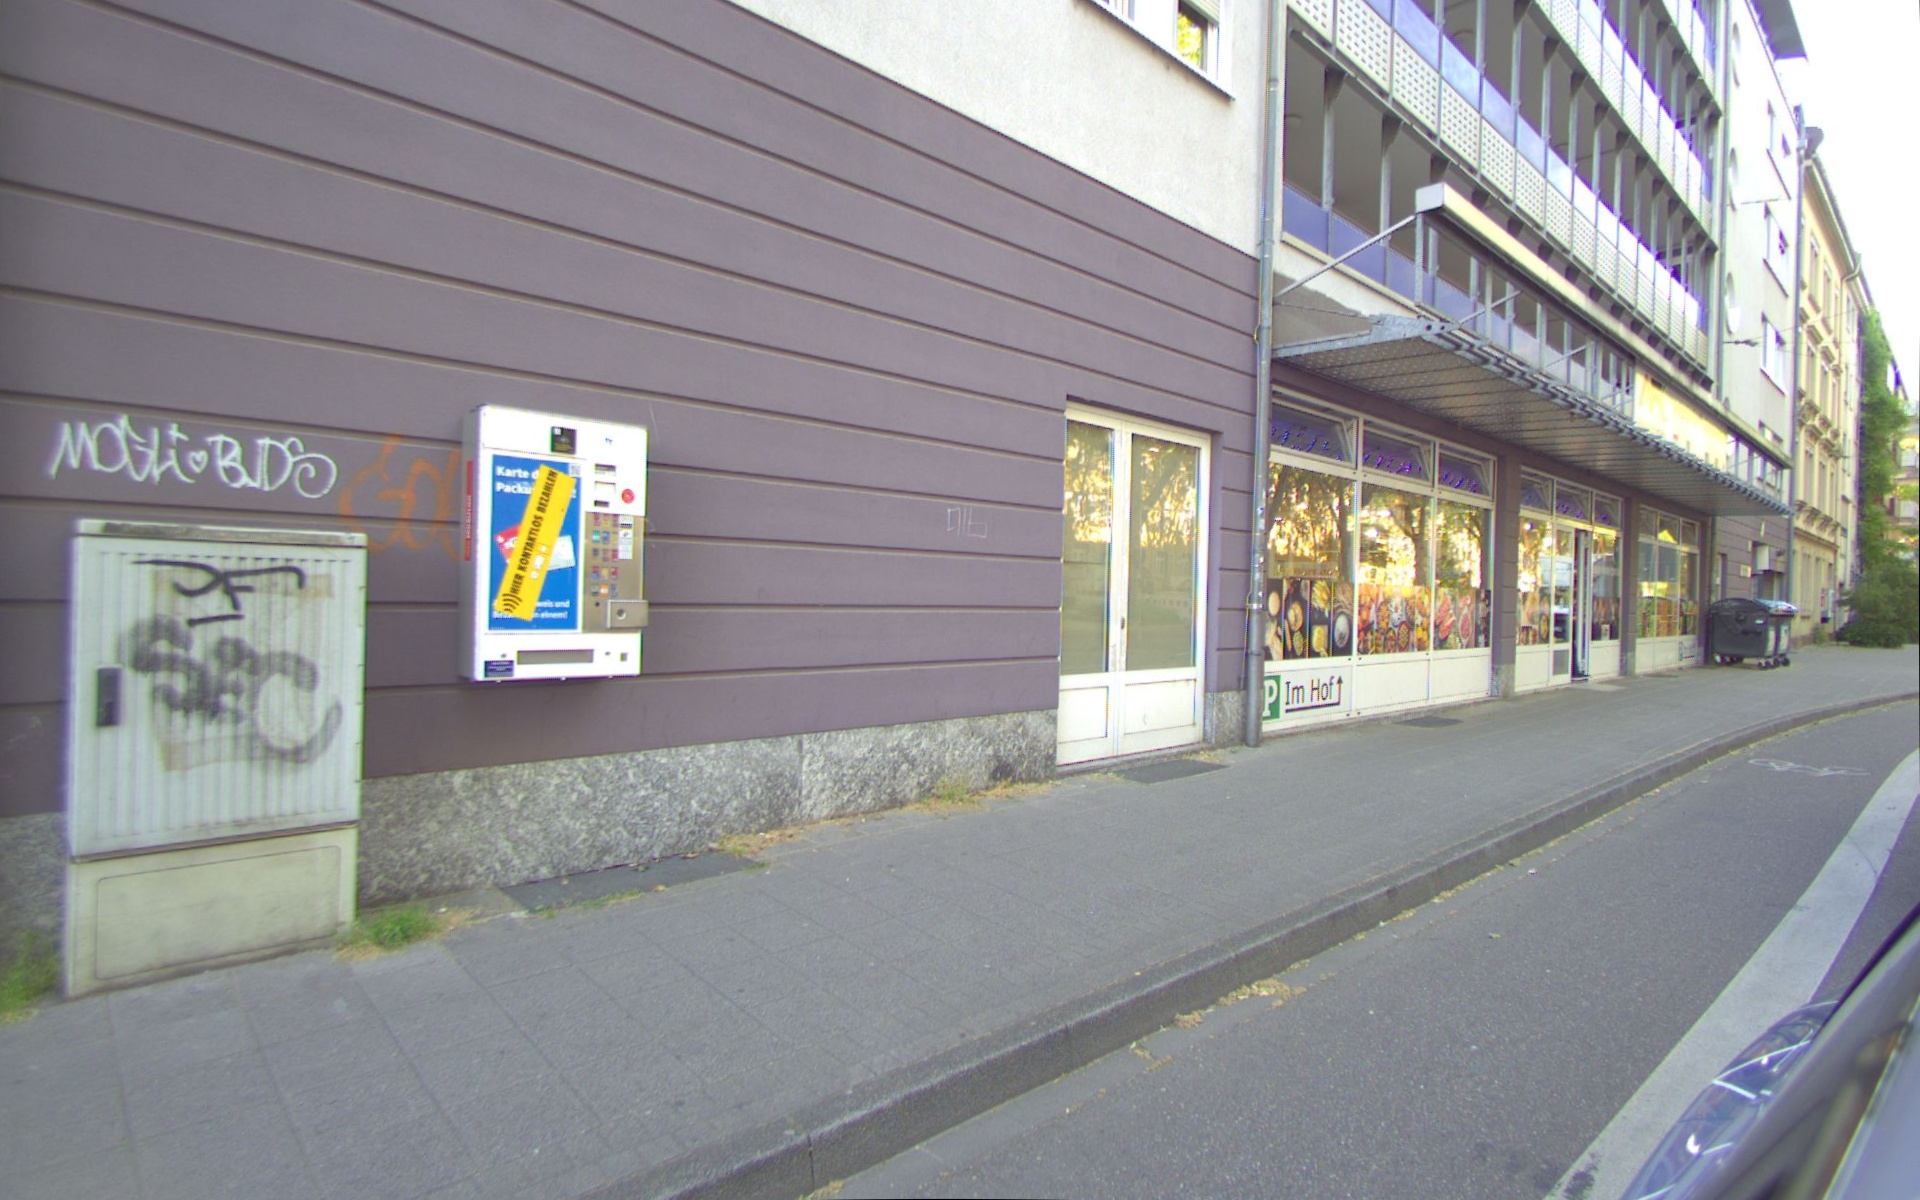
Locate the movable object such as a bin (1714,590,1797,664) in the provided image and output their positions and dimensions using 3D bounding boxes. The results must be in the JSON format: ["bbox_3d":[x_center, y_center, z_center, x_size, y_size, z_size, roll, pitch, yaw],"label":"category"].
[{"bbox_3d":[16.321,0.540,20.772,0.923,1.444,1.158,1,1,-40],"label":"movable object such as a bin"}]

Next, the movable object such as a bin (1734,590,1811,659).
[{"bbox_3d":[17.779,0.516,22.148,0.923,1.444,1.158,1,1,-40],"label":"movable object such as a bin"}]
